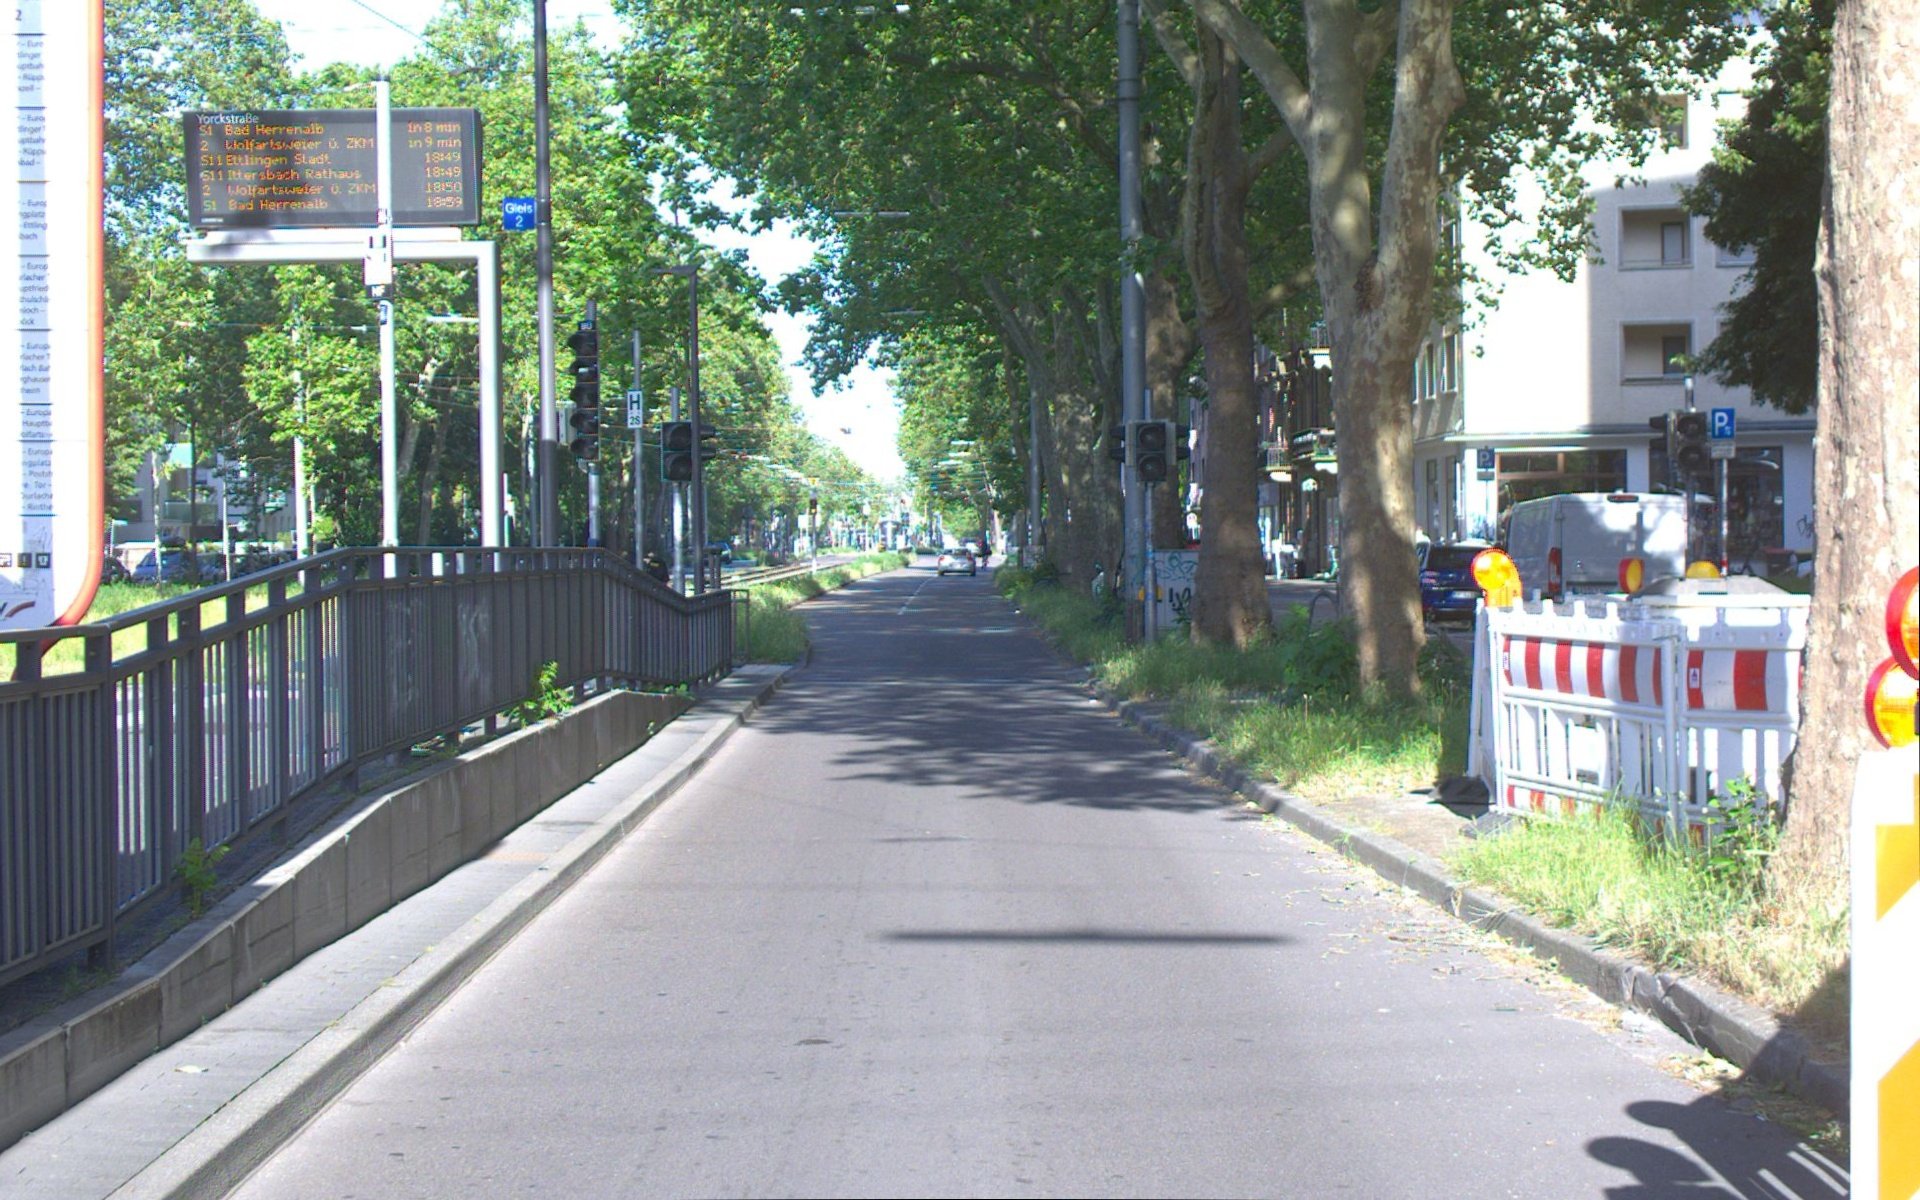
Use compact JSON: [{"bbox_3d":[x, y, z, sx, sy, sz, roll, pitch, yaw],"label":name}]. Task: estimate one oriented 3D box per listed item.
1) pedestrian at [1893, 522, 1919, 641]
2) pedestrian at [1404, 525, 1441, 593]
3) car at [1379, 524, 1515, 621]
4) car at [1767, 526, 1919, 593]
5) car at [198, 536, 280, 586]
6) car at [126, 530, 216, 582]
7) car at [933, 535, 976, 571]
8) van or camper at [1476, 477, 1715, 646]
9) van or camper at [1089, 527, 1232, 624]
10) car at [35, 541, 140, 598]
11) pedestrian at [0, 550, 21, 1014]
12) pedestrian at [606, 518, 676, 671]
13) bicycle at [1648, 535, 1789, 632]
[{"bbox_3d":[13.330,-0.264,47.233,0.732,1.611,1.035,0,1,0],"label":"pedestrian"},{"bbox_3d":[11.592,-1.034,86.180,0.795,1.698,0.724,-1,1,0],"label":"pedestrian"},{"bbox_3d":[9.122,-0.545,64.783,1.819,1.736,5.168,0,1,0],"label":"car"},{"bbox_3d":[21.608,-0.966,81.862,4.589,1.575,1.999,0,1,15],"label":"car"},{"bbox_3d":[-27.008,-1.472,128.922,2.109,1.802,4.739,-1,1,-1],"label":"car"},{"bbox_3d":[-27.016,-1.519,117.848,1.768,1.713,4.420,-1,1,4],"label":"car"},{"bbox_3d":[-0.273,-2.231,162.960,2.021,1.656,4.000,0,1,0],"label":"car"},{"bbox_3d":[9.005,-0.564,49.242,2.291,2.279,5.823,0,1,0],"label":"van or camper"},{"bbox_3d":[3.354,-0.436,57.916,1.500,1.582,2.841,-1,1,-17],"label":"van or camper"},{"bbox_3d":[-27.163,-0.964,107.201,1.993,1.644,4.827,-1,2,1],"label":"car"},{"bbox_3d":[-2.802,0.465,8.491,0.752,1.175,0.813,0,1,-1],"label":"pedestrian"},{"bbox_3d":[-3.538,-0.065,38.164,0.712,1.674,0.772,0,1,-1],"label":"pedestrian"},{"bbox_3d":[10.038,-0.220,45.529,1.603,1.259,0.963,-1,1,-4],"label":"bicycle"}]
